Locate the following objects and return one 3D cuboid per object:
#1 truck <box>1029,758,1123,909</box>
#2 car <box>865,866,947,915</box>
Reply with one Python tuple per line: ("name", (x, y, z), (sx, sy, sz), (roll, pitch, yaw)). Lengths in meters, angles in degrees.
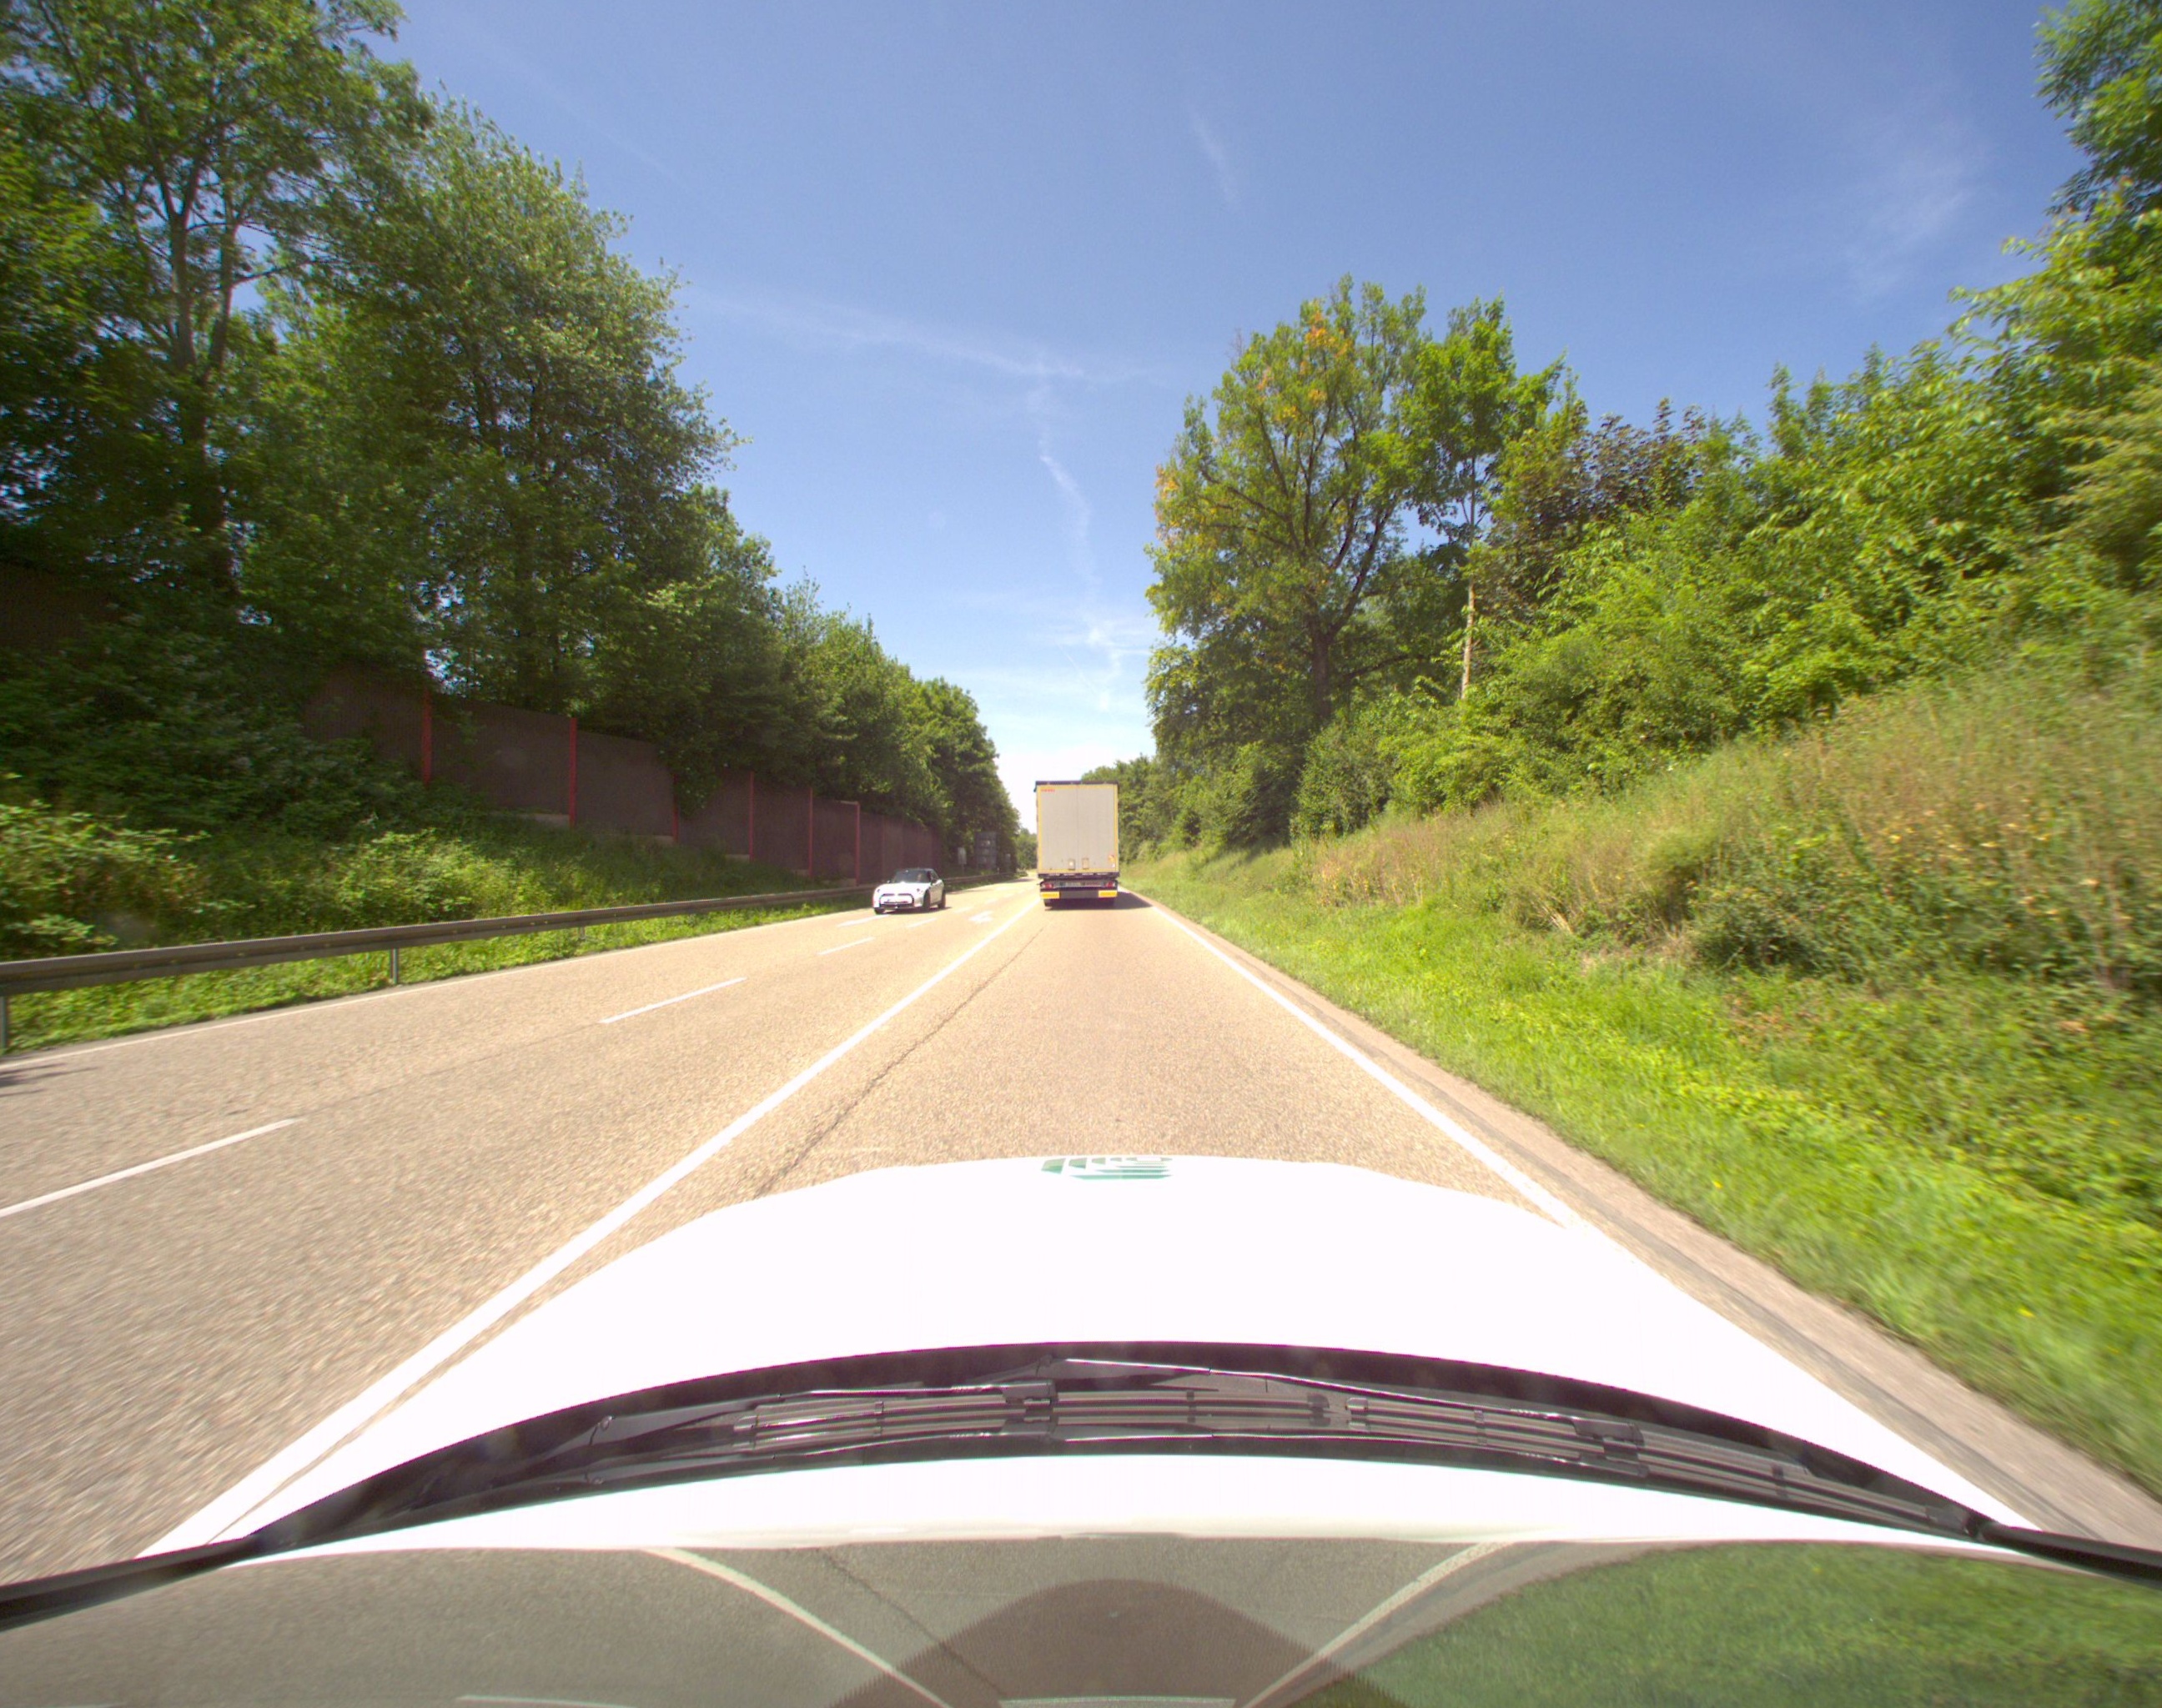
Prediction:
("truck", (-0.120, -0.646, 28.274), (2.813, 4.603, 6.665), (-1, 0, 1))
("car", (-5.747, 1.167, 27.168), (1.800, 1.435, 3.872), (-1, 0, 1))
